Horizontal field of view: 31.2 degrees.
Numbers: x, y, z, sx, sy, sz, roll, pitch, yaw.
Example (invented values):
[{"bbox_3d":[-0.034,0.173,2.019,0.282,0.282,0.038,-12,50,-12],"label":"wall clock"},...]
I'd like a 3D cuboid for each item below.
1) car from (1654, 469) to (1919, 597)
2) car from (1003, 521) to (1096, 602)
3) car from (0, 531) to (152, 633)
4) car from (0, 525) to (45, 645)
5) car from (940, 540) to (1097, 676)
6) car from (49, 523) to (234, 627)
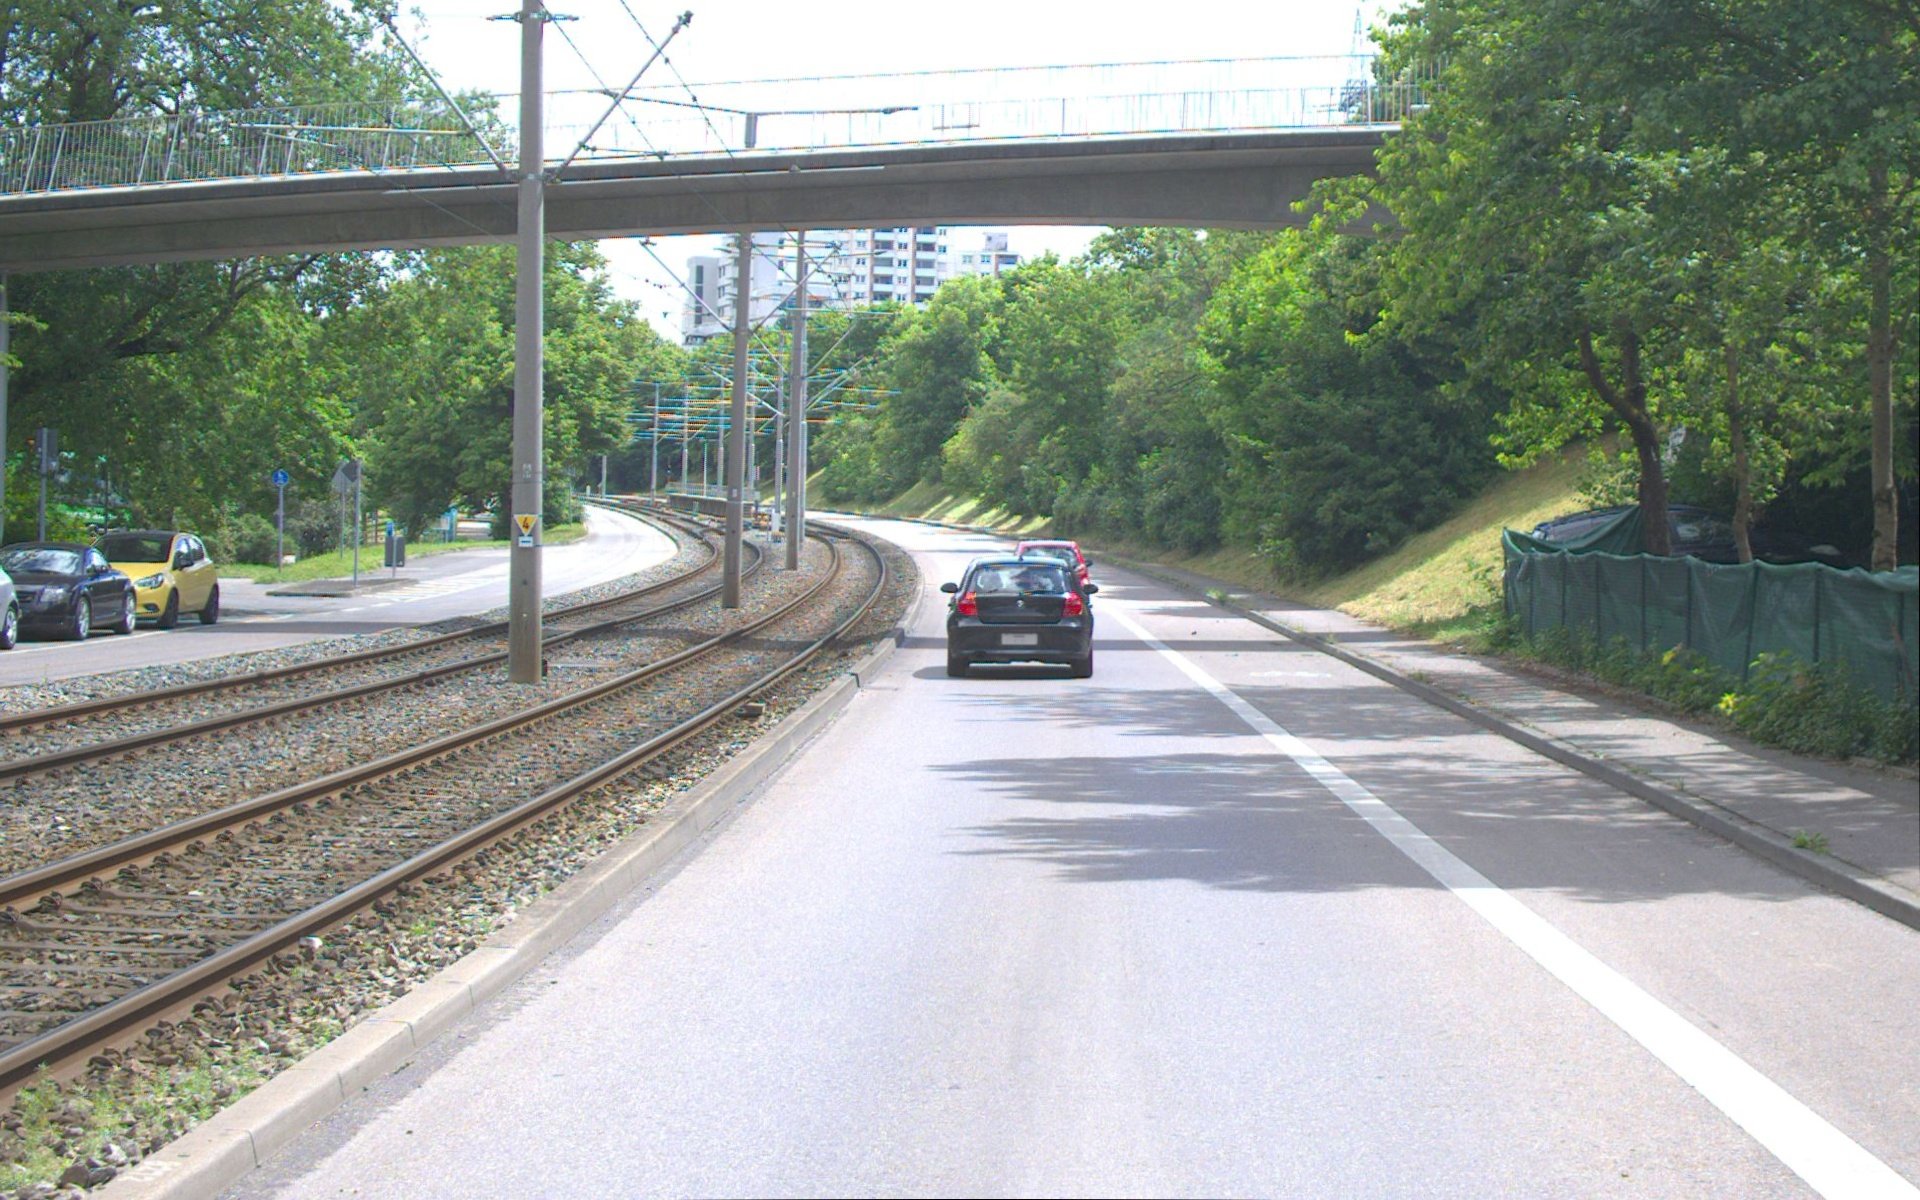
[{"bbox_3d":[11.874,-0.896,46.875,4.525,1.666,2.000,0,-1,5],"label":"car"},{"bbox_3d":[1.786,-0.734,67.555,1.624,1.438,3.421,3,0,4],"label":"car"},{"bbox_3d":[-12.658,-0.278,48.162,1.511,1.355,4.128,1,1,3],"label":"car"},{"bbox_3d":[-12.801,-0.221,42.769,1.593,1.488,4.192,3,1,1],"label":"car"},{"bbox_3d":[0.736,0.060,41.158,1.708,1.455,3.960,3,1,2],"label":"car"},{"bbox_3d":[-12.563,-0.360,52.965,1.689,1.445,3.898,3,-1,3],"label":"car"}]
